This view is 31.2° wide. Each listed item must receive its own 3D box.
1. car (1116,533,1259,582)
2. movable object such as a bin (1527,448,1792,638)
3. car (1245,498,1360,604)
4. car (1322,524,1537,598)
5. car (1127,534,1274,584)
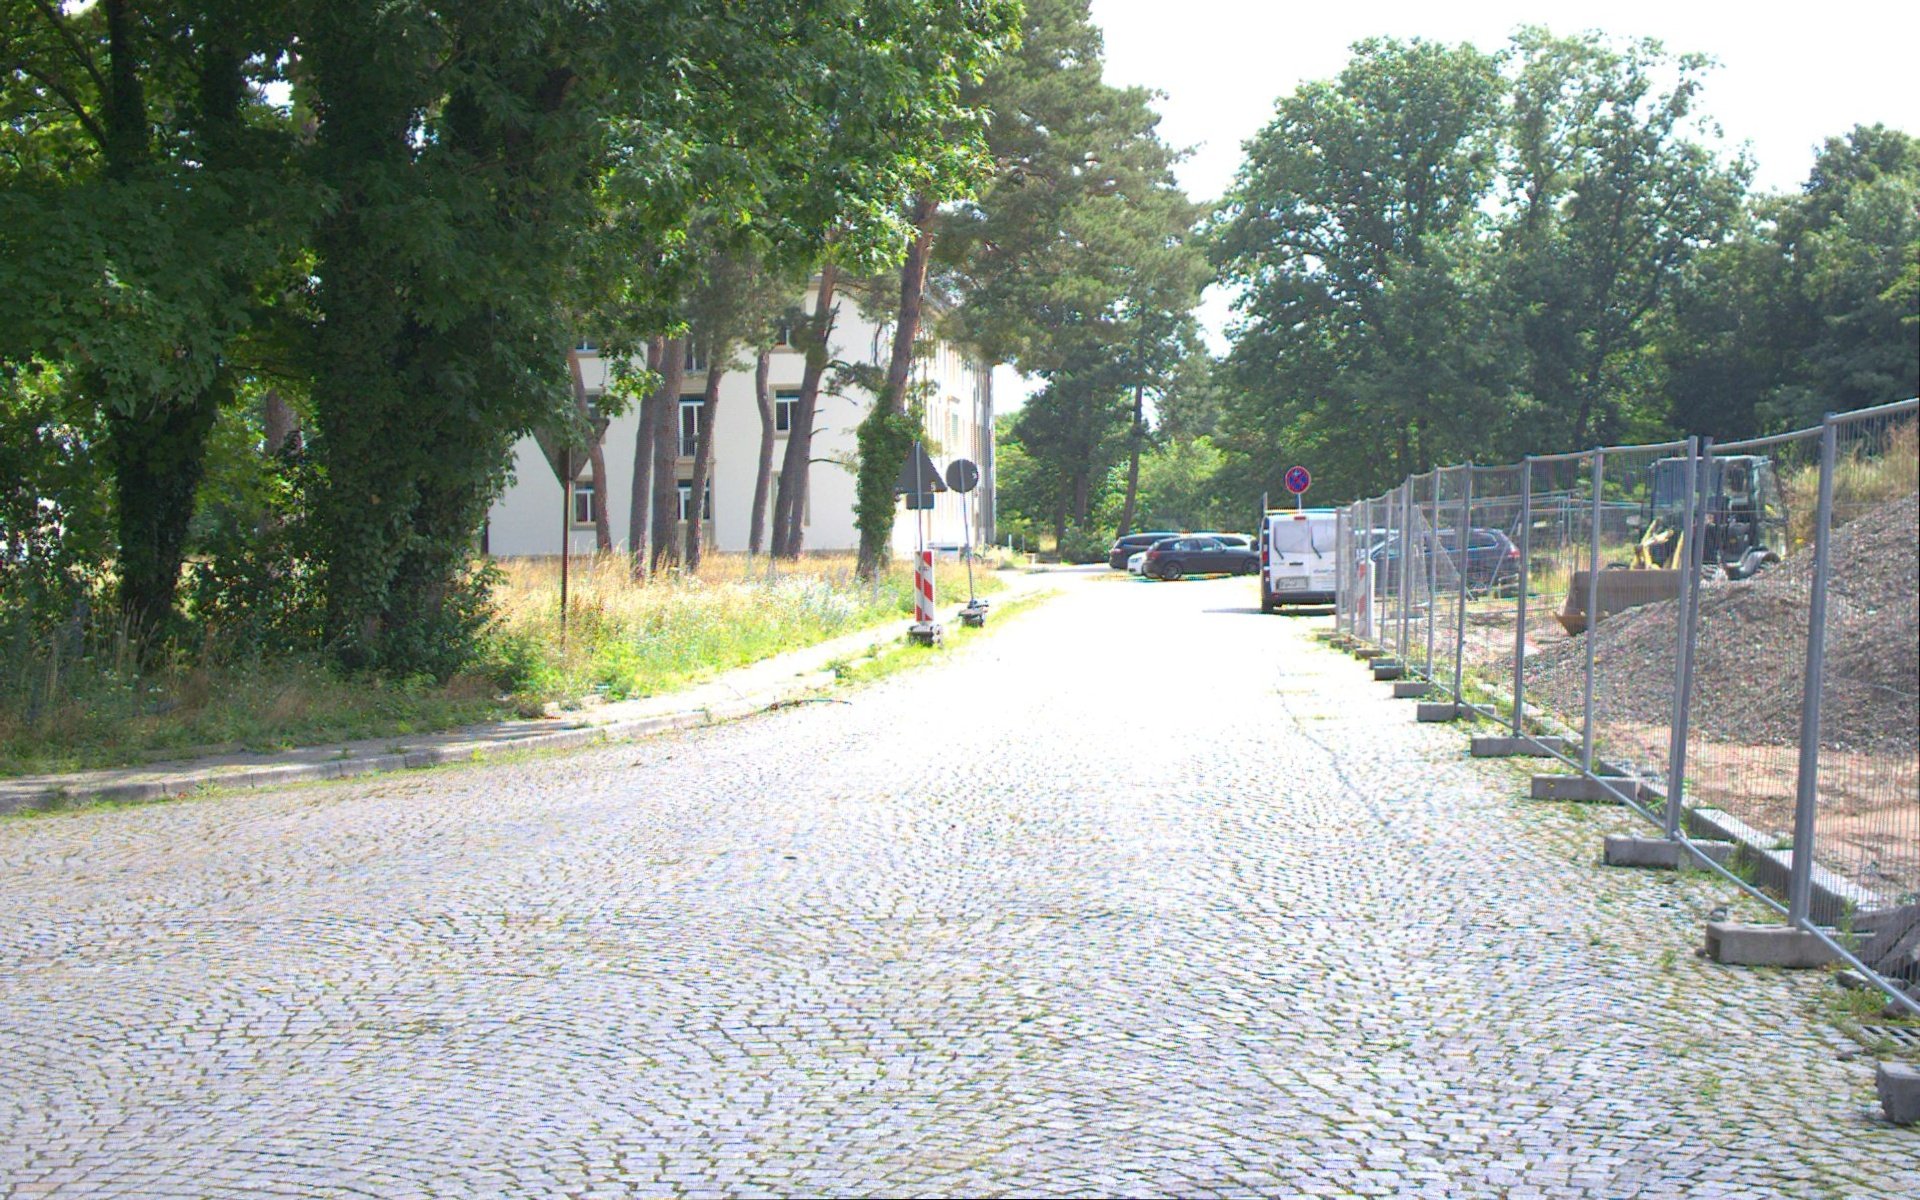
[{"bbox_3d":[7.864,-1.470,119.146,4.779,1.635,2.000,0,1,-2],"label":"car"},{"bbox_3d":[10.110,-0.840,49.410,2.132,2.584,4.782,0,1,33],"label":"movable object such as a bin"},{"bbox_3d":[6.706,-0.970,67.737,1.993,2.007,4.091,0,1,2],"label":"car"},{"bbox_3d":[10.018,-0.843,73.259,4.405,1.505,1.999,1,1,12],"label":"car"},{"bbox_3d":[8.108,-1.402,116.048,4.779,1.635,2.000,0,1,-2],"label":"car"}]
